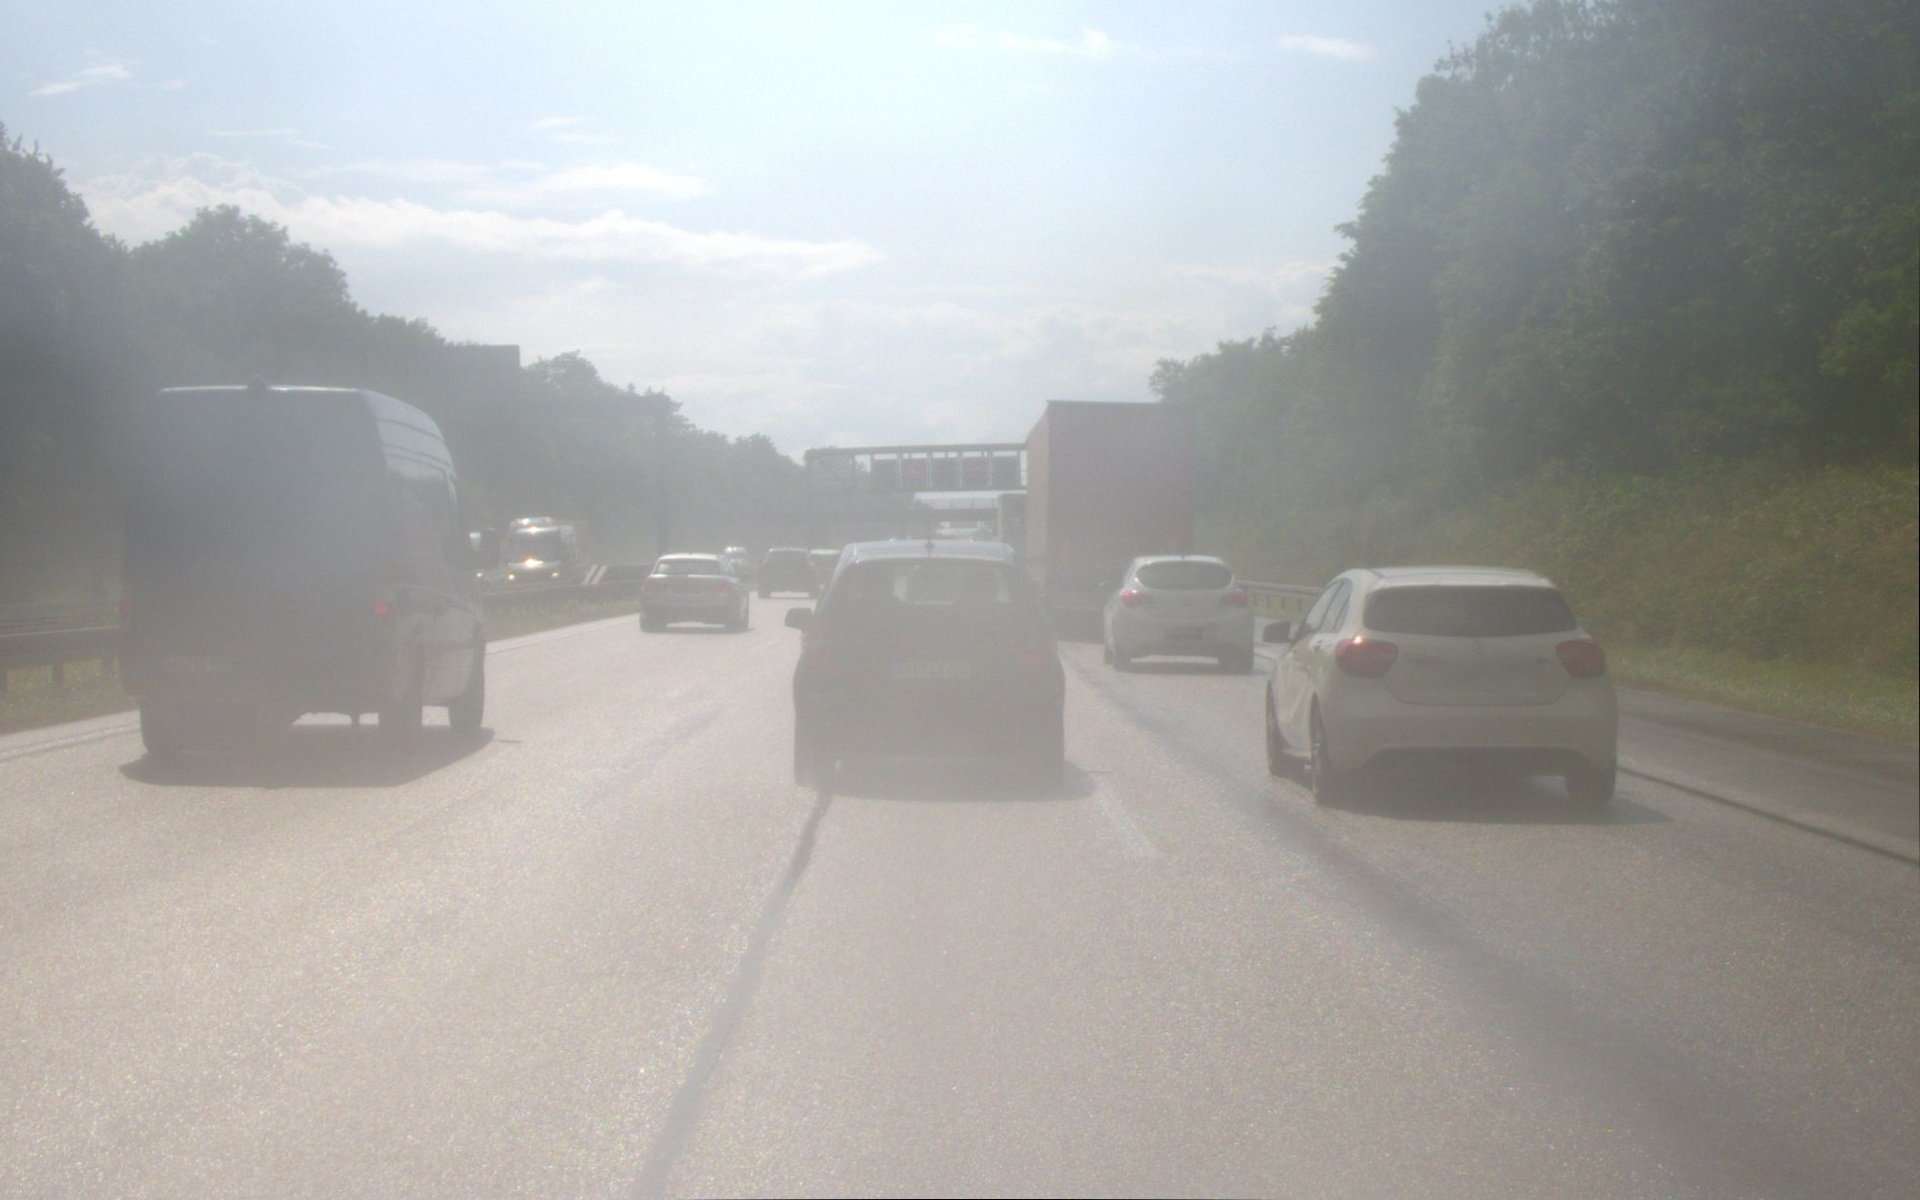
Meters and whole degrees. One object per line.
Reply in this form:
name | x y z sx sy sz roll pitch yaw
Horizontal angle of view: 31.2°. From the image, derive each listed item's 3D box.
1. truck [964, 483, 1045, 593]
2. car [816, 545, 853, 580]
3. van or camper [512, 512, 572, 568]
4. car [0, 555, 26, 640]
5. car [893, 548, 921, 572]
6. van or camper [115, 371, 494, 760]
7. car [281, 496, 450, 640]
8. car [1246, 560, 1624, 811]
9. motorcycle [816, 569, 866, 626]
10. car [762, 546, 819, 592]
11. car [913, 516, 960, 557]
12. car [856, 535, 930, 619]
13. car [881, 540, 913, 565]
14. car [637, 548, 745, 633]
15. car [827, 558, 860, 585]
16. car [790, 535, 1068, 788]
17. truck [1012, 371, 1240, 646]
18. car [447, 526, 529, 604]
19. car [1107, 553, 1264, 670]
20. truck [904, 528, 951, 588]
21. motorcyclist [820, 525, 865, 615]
truck | 1.851 -2.607 147.207 3.256 4.464 12.421 1 1 0
car | -5.088 -1.515 139.770 1.460 1.389 3.312 1 1 -2
van or camper | -22.388 -3.211 184.406 2.500 2.911 7.138 1 1 -2
car | -17.764 -0.044 59.988 1.817 1.494 4.529 1 1 -2
car | -3.899 -2.955 252.853 1.993 1.722 4.000 0 1 0
van or camper | -4.891 -0.266 26.432 1.993 2.659 5.385 1 1 -2
car | -10.659 -0.585 62.054 2.183 2.444 5.748 1 1 -2
car | 2.903 0.465 21.841 1.692 1.420 4.220 1 1 -2
motorcycle | -2.163 -0.063 62.827 0.890 0.997 2.896 1 1 -2
car | -5.497 -1.028 111.949 1.751 1.452 3.390 1 1 -2
car | -0.818 -2.192 118.887 1.552 1.378 3.210 1 1 -2
car | -1.454 -0.510 74.059 1.531 1.740 3.485 1 1 -2
car | -4.268 -3.212 232.217 1.993 1.695 4.000 0 1 1
car | -5.085 -0.204 65.390 1.854 1.546 3.485 1 1 -2
car | -5.564 -1.391 164.875 1.549 1.262 3.485 1 1 -2
car | -0.242 0.366 23.260 1.717 1.562 3.485 1 1 -2
truck | 2.991 -1.674 67.661 3.650 4.704 16.779 1 1 0
car | -18.044 -1.350 131.787 2.263 2.860 6.789 1 1 -1
car | 2.899 0.118 44.889 1.680 1.437 3.905 1 1 -2
truck | -1.603 -2.072 168.904 2.192 2.865 4.850 1 1 -2
motorcyclist | -2.140 -0.550 62.778 0.801 1.627 1.013 1 1 -2
